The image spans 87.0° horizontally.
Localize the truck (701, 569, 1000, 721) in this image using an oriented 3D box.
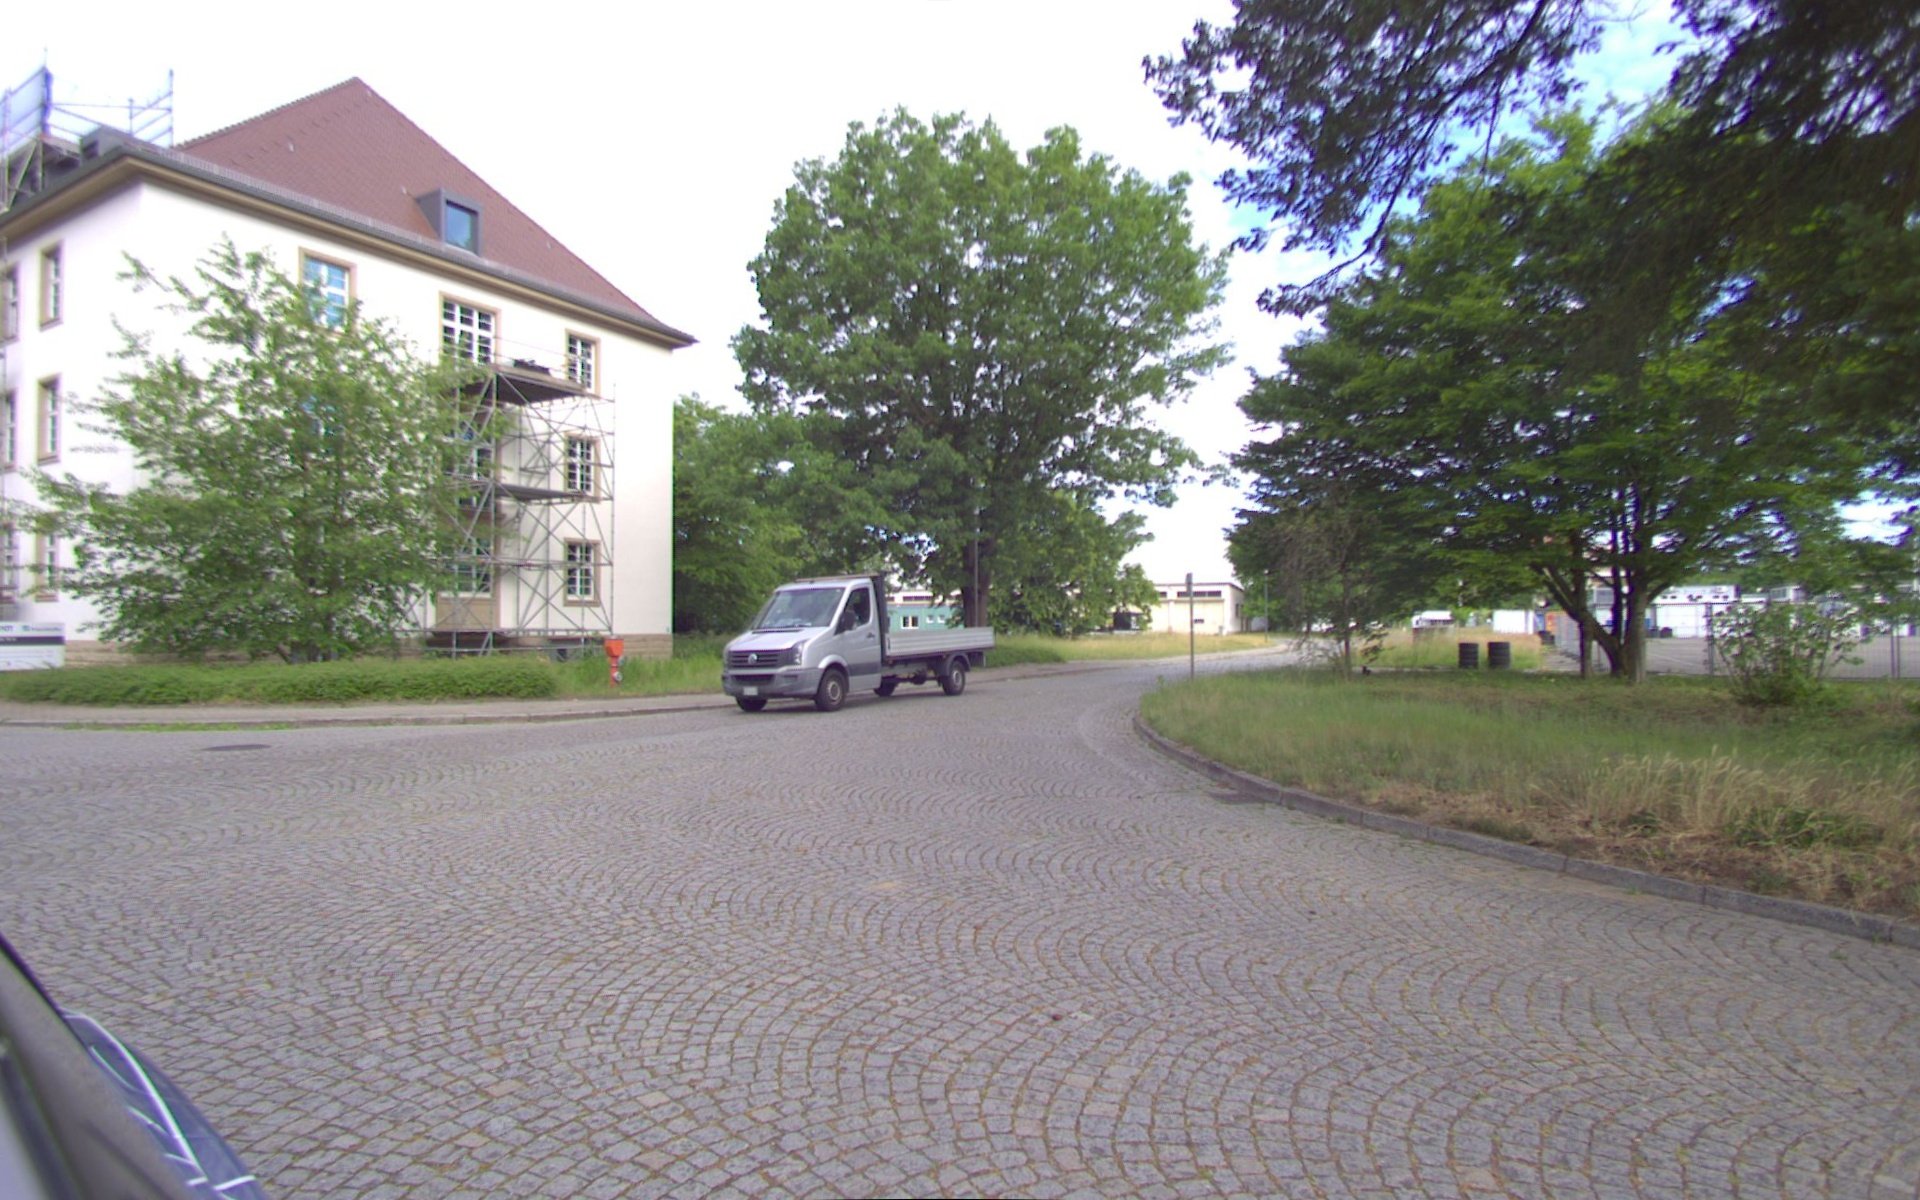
[{"bbox_3d":[-1.734,0.806,19.409,1.985,2.384,7.016,-2,-2,30],"label":"truck"}]
